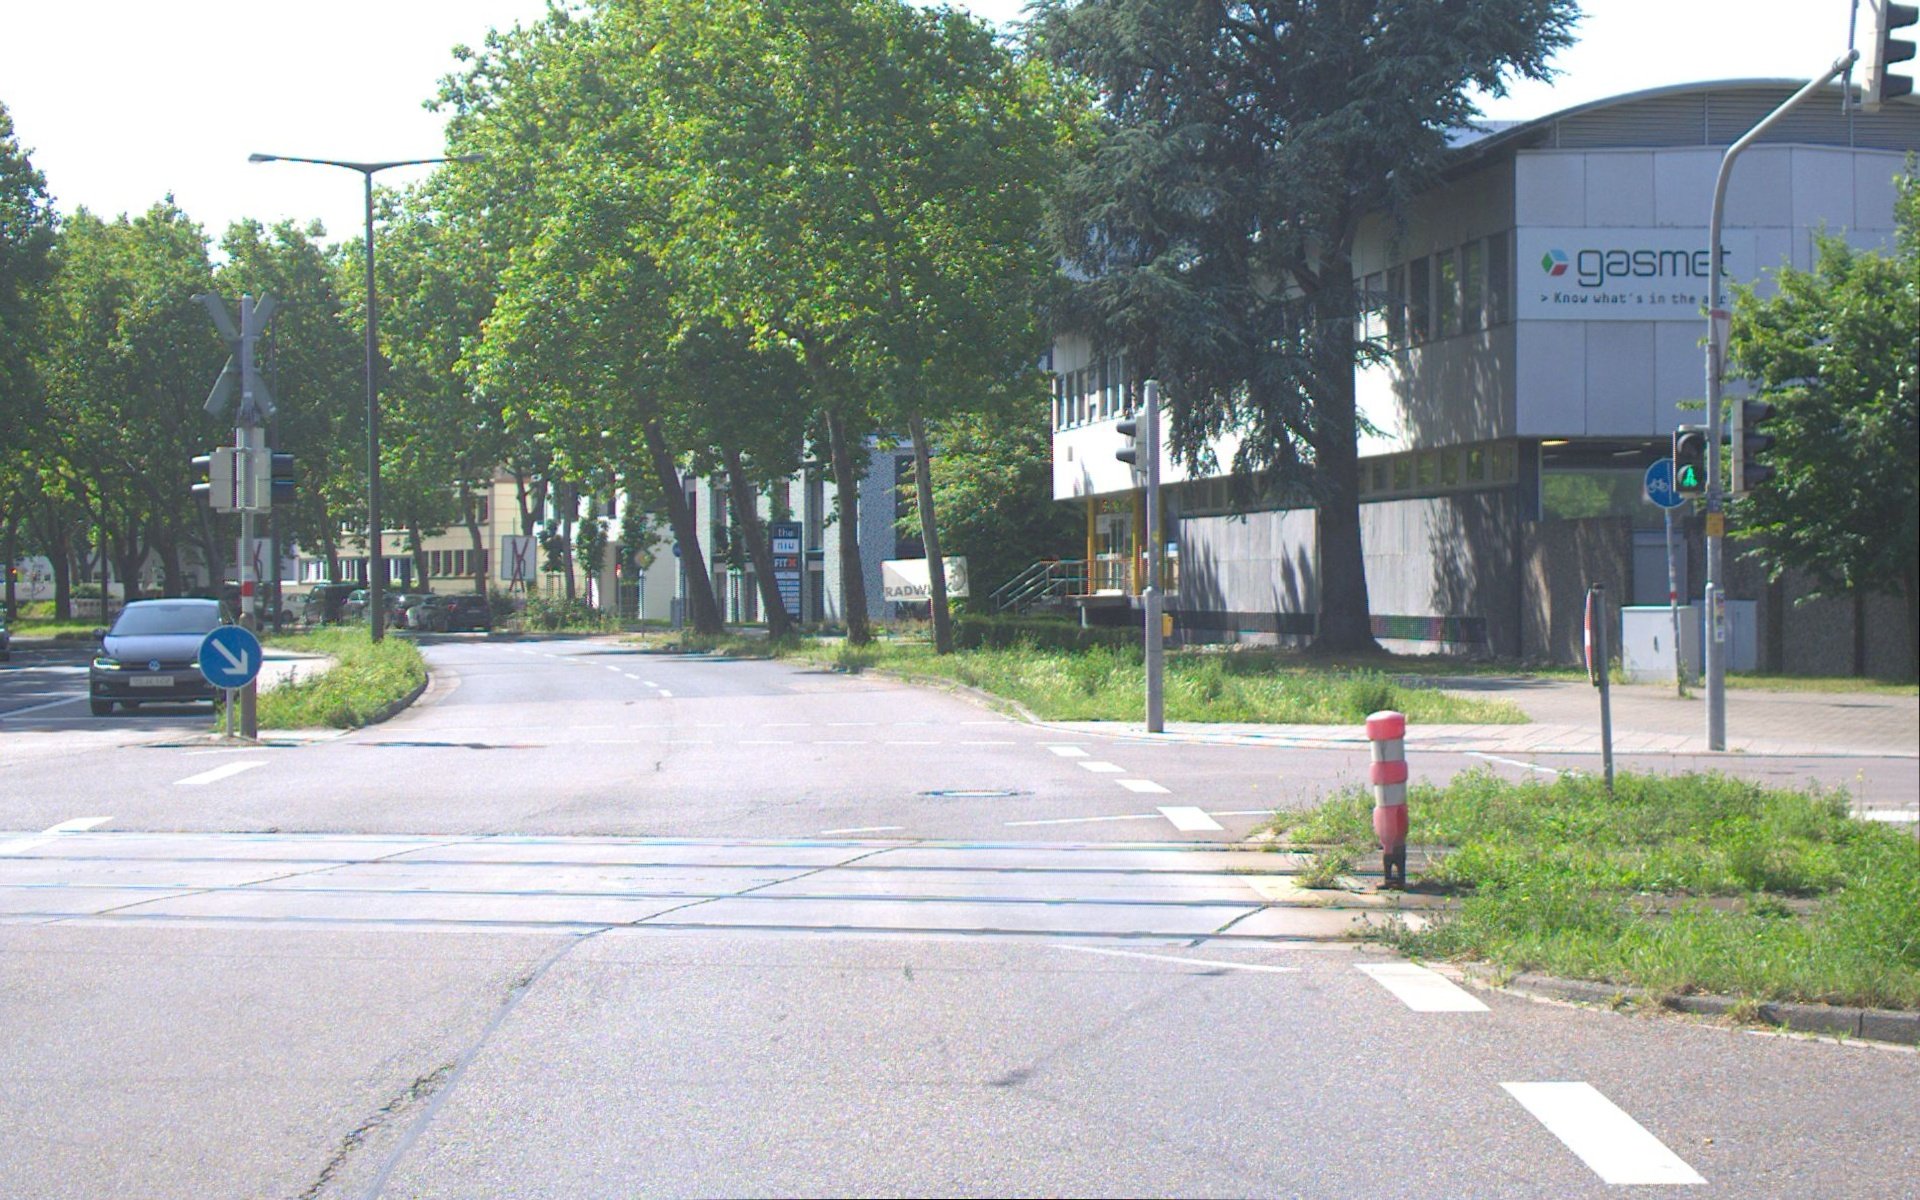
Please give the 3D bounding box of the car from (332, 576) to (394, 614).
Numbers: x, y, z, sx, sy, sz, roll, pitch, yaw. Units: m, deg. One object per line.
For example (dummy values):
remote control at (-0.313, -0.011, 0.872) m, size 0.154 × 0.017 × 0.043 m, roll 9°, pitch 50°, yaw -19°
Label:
car at (-27.117, -0.249, 156.055) m, size 1.706 × 1.664 × 4.534 m, roll -1°, pitch 1°, yaw -24°

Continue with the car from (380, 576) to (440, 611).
car at (-23.153, -0.287, 144.667) m, size 1.706 × 1.450 × 4.657 m, roll -1°, pitch 1°, yaw -19°

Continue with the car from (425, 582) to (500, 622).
car at (-19.458, 0.056, 134.347) m, size 1.706 × 1.482 × 4.720 m, roll -2°, pitch 1°, yaw -23°

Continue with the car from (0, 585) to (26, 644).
car at (-26.963, 0.405, 94.903) m, size 1.708 × 1.584 × 4.434 m, roll -2°, pitch 1°, yaw -8°

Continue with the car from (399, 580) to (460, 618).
car at (-21.529, -0.046, 139.402) m, size 1.706 × 1.482 × 4.102 m, roll -1°, pitch 1°, yaw -19°

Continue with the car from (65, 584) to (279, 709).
car at (-10.010, 0.559, 43.961) m, size 1.694 × 1.503 × 4.129 m, roll 0°, pitch 0°, yaw 1°
